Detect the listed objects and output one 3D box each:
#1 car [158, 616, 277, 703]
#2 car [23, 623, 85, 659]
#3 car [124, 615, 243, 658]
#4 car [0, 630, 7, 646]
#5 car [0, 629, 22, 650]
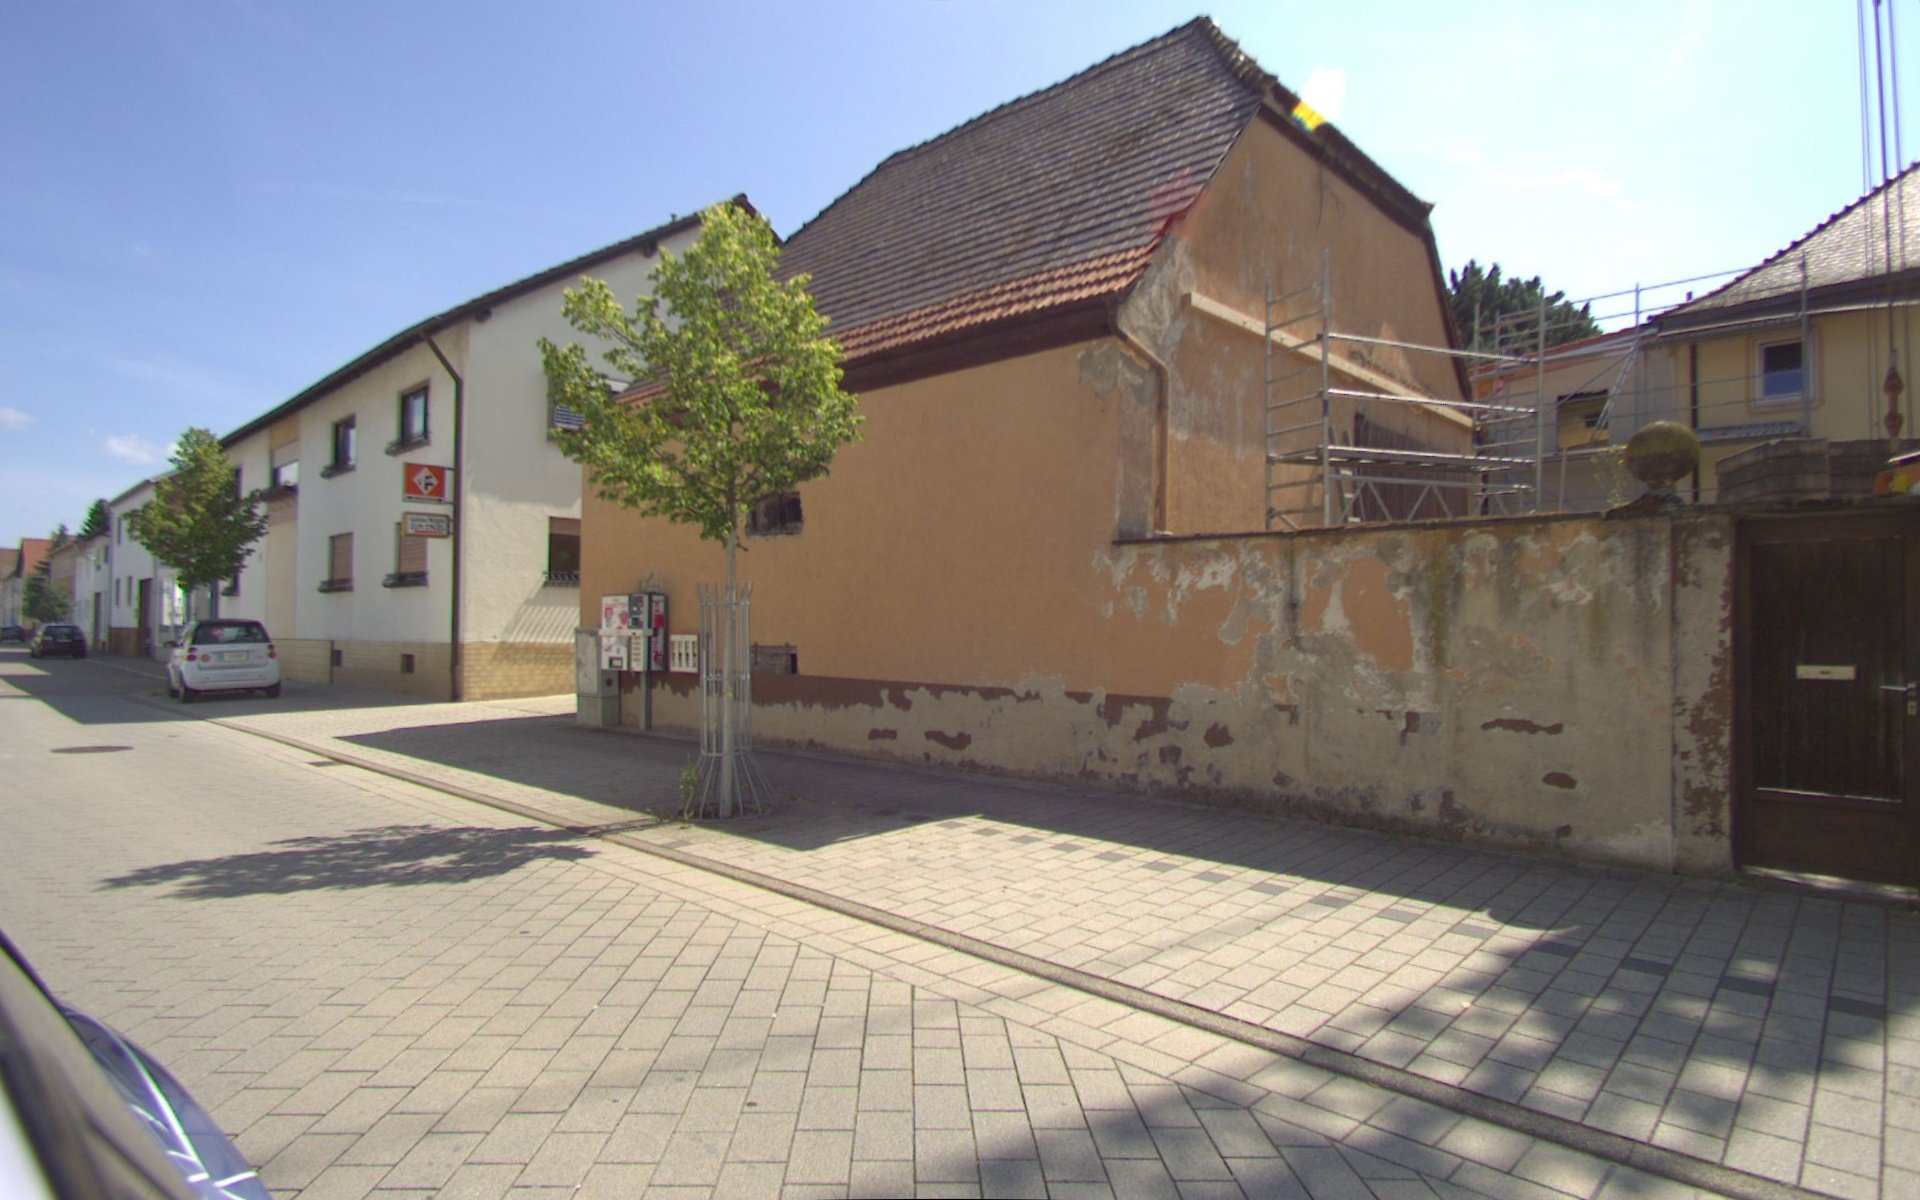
[{"bbox_3d":[-14.779,1.121,20.107,1.554,1.573,2.824,0,-1,-44],"label":"car"},{"bbox_3d":[-41.981,1.909,46.867,3.954,1.578,1.728,-2,-3,43],"label":"car"},{"bbox_3d":[-33.931,1.582,44.271,3.941,1.731,1.815,0,-1,-45],"label":"car"},{"bbox_3d":[-96.951,3.778,101.365,3.999,1.564,1.830,-2,-3,42],"label":"car"},{"bbox_3d":[-81.667,3.389,86.569,4.002,1.711,1.826,-2,-4,45],"label":"car"}]
